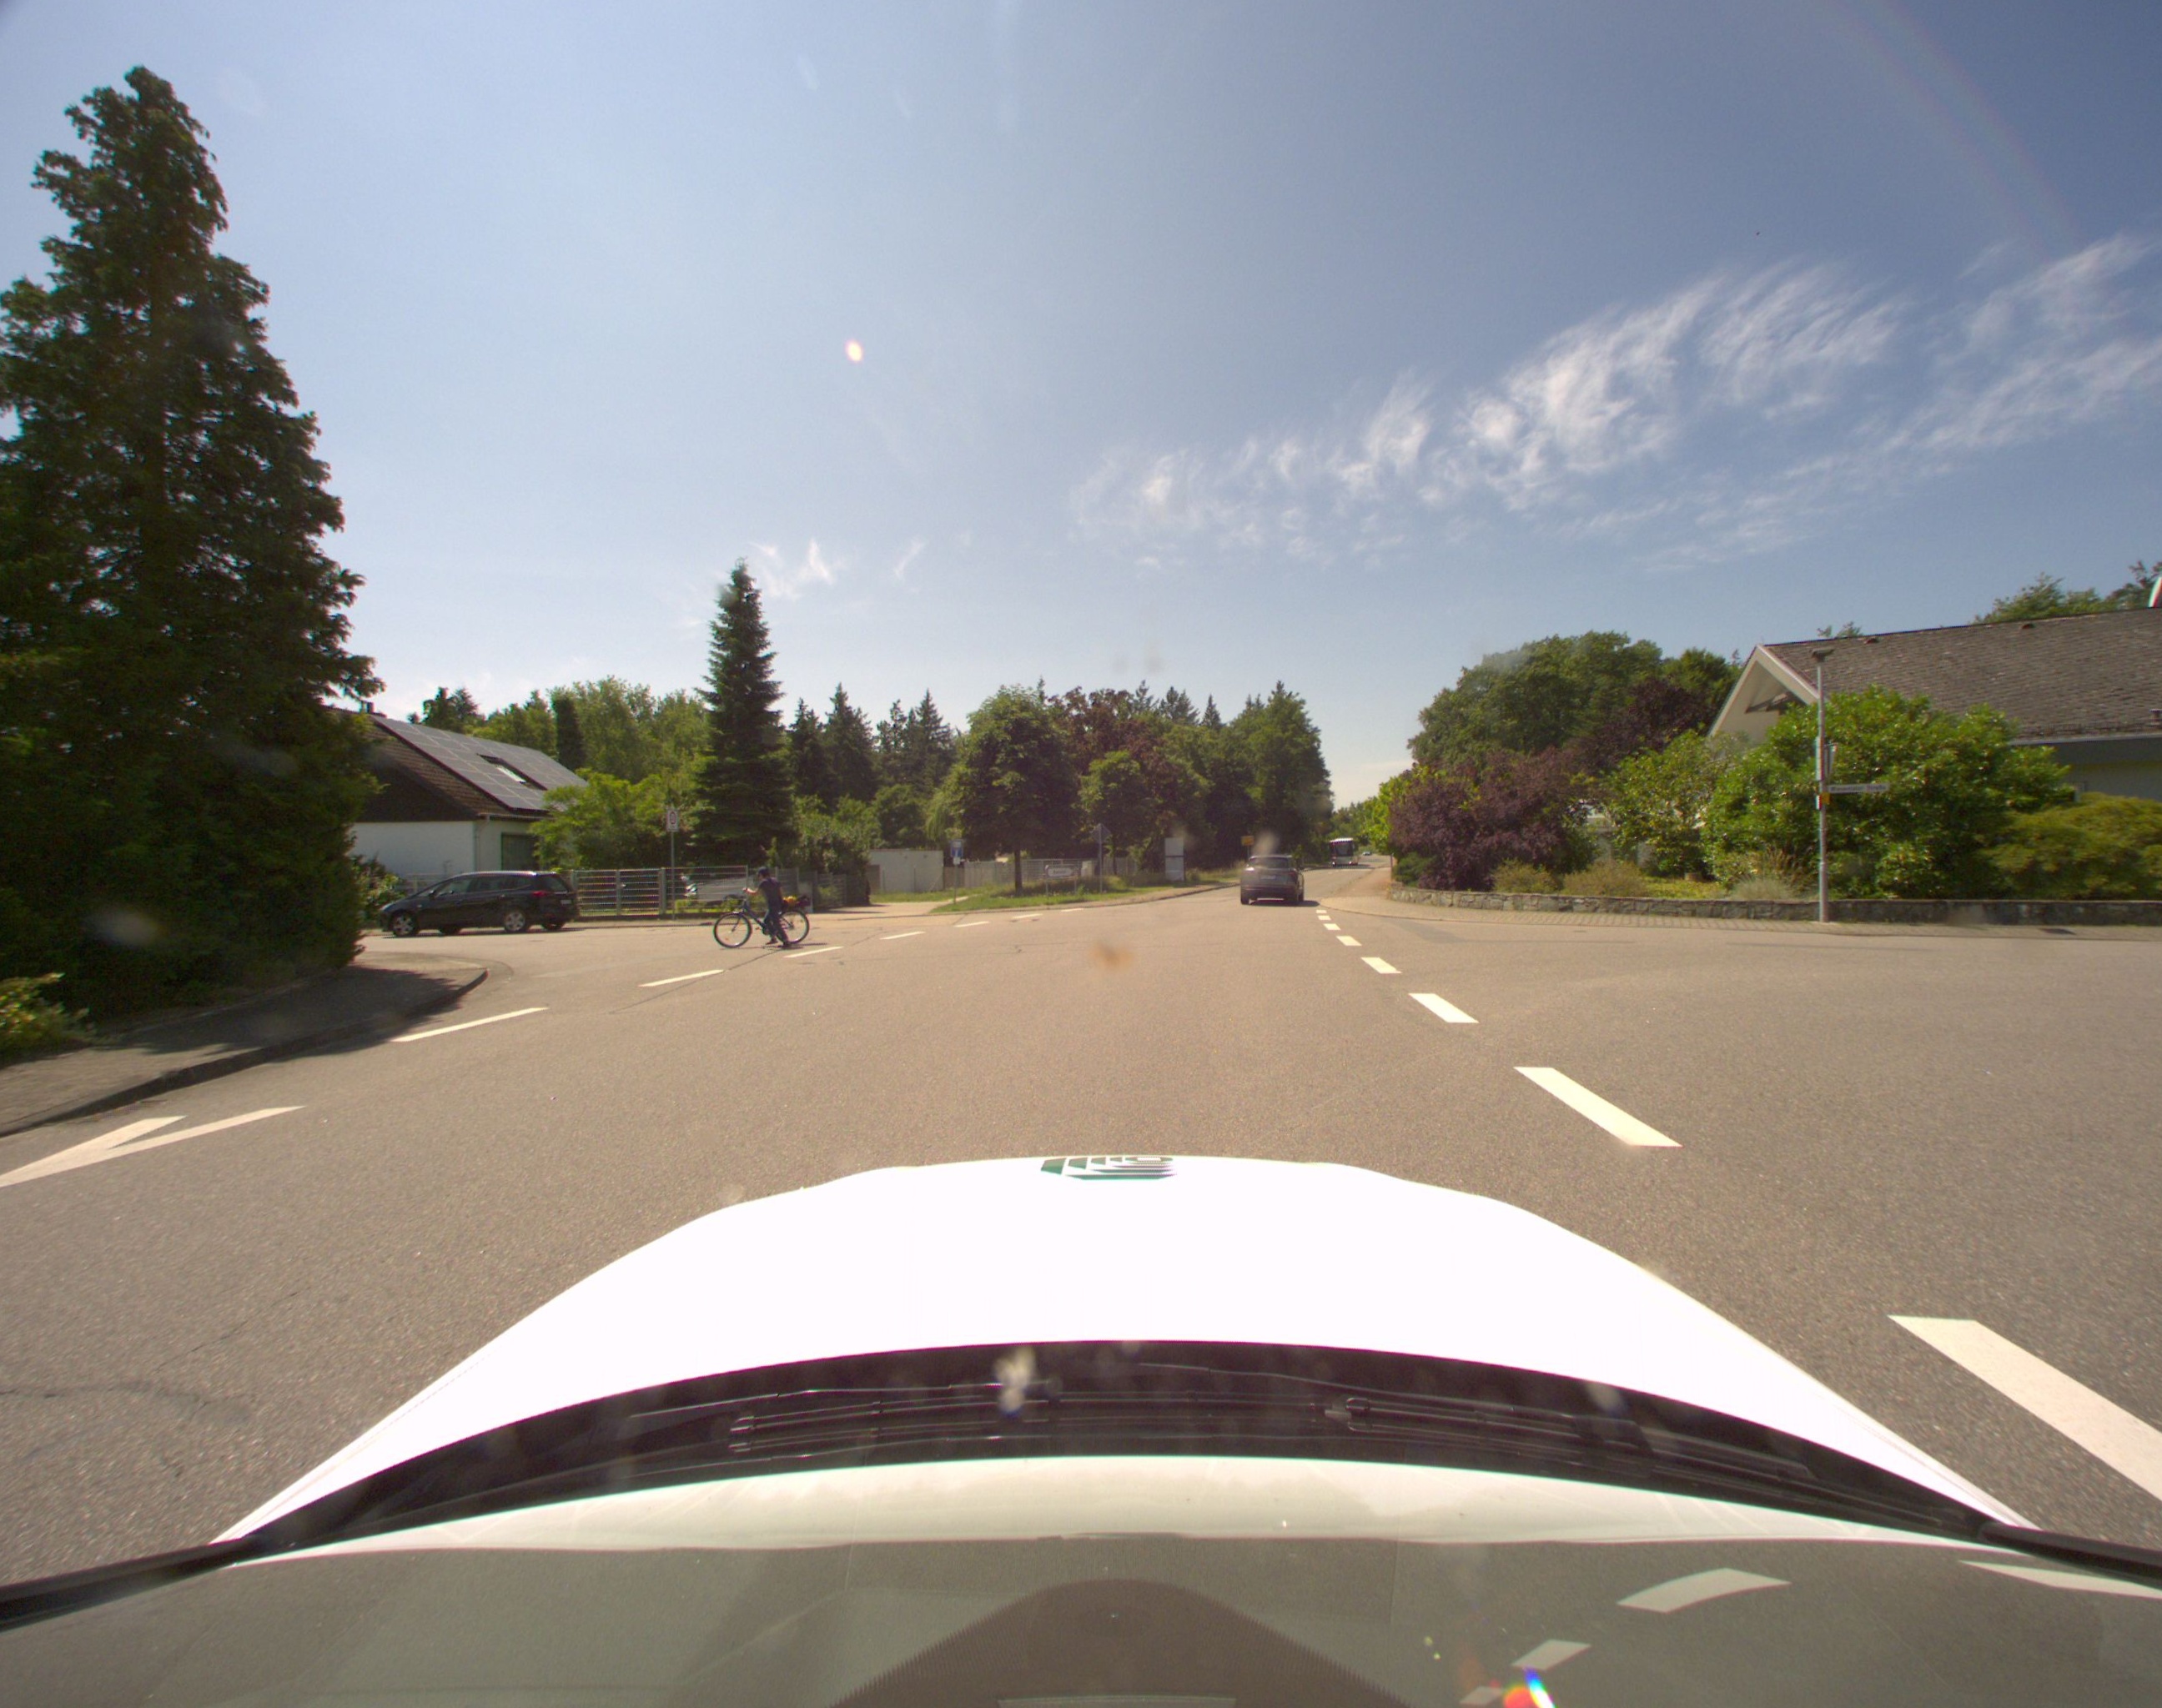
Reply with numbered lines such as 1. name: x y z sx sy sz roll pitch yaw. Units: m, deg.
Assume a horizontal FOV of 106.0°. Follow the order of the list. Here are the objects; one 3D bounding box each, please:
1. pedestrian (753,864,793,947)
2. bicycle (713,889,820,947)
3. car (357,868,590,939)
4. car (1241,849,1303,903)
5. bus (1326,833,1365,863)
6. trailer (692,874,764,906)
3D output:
1. pedestrian: -5.732 0.939 15.129 0.613 1.501 0.500 -1 -1 -28
2. bicycle: -5.978 1.199 15.518 1.854 0.964 0.439 -1 0 -29
3. car: -16.216 1.289 21.962 4.657 1.662 1.967 -1 0 -3
4. car: 6.294 0.678 26.595 1.749 1.618 4.017 0 0 16
5. bus: 32.167 -0.713 98.599 3.153 3.244 12.783 -2 0 24
6. trailer: -12.893 1.302 29.807 2.216 1.084 1.102 -1 0 -12
